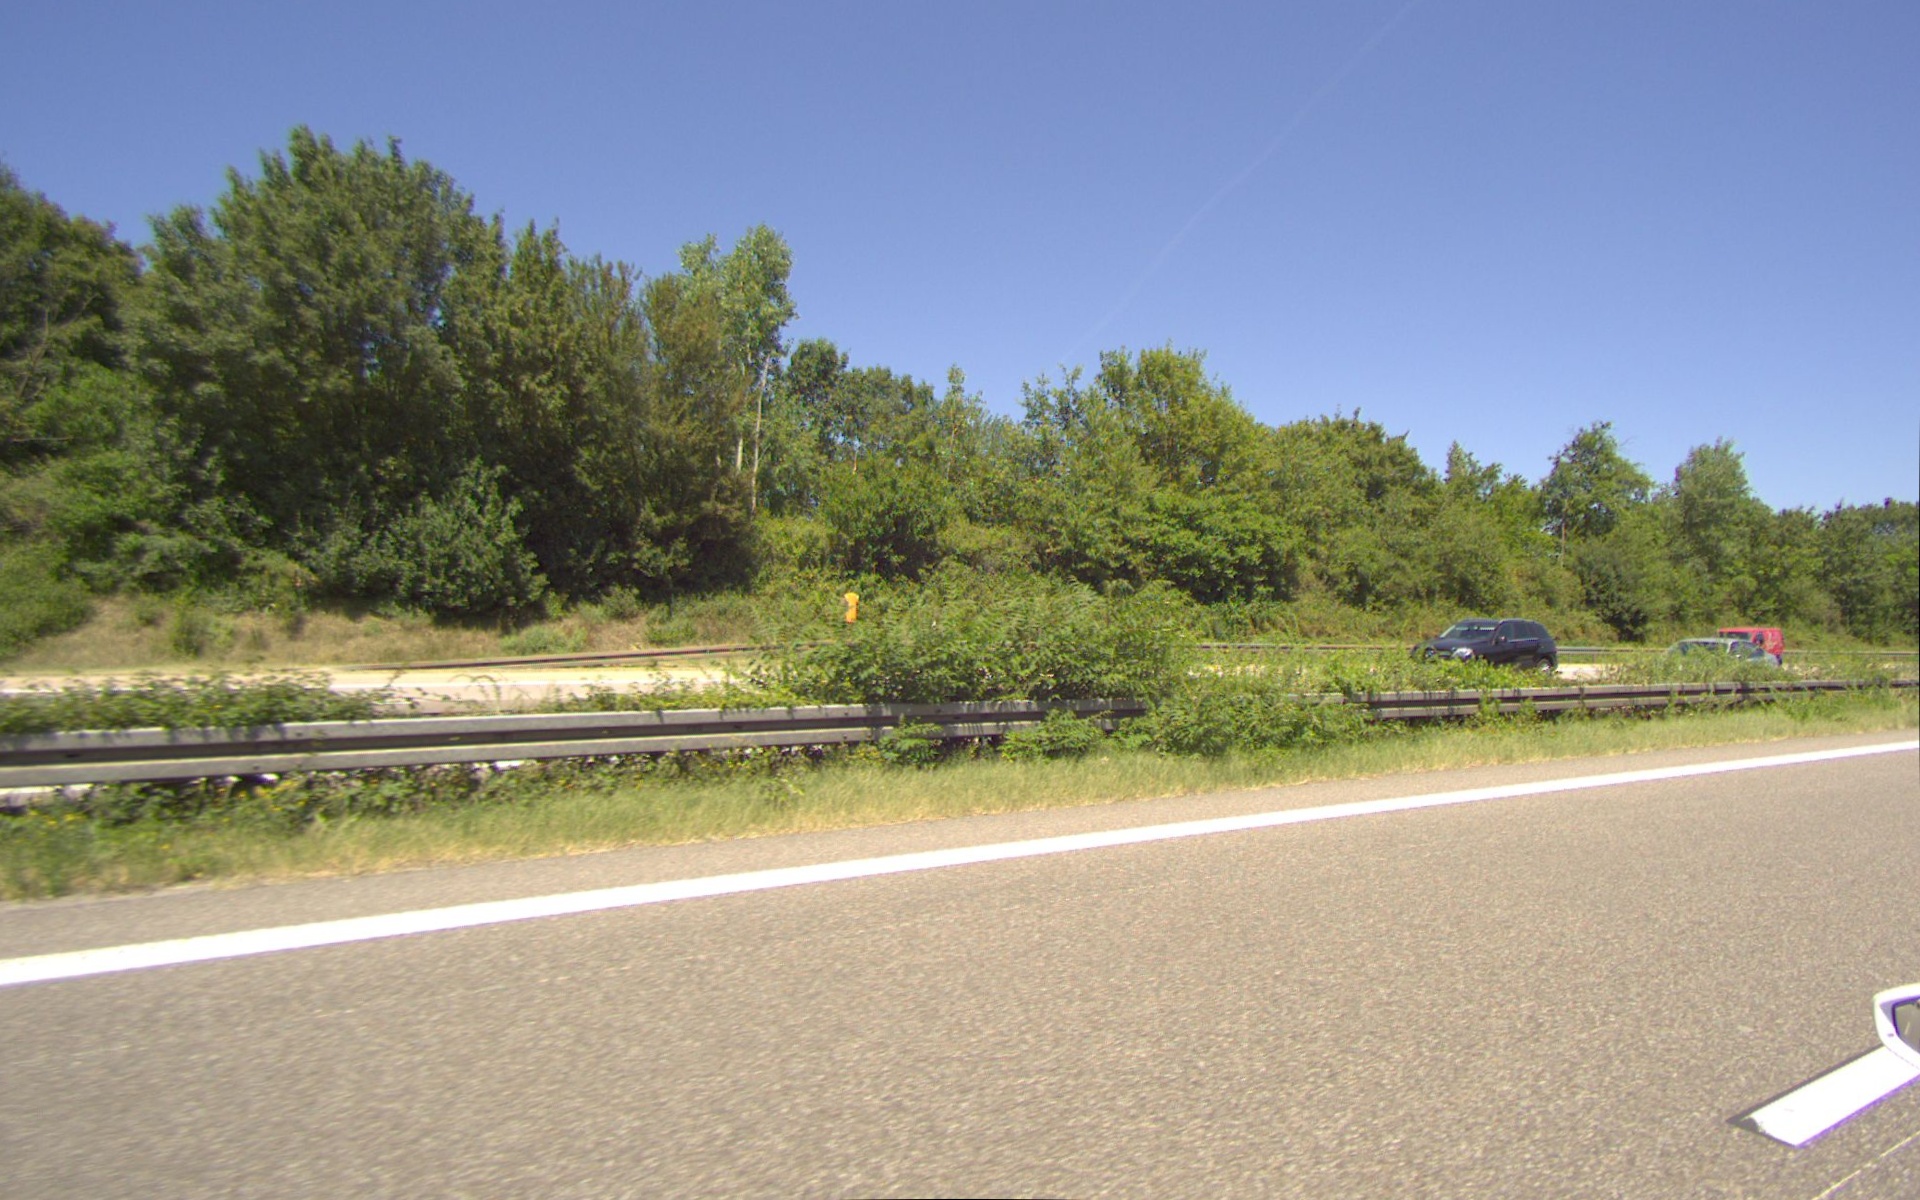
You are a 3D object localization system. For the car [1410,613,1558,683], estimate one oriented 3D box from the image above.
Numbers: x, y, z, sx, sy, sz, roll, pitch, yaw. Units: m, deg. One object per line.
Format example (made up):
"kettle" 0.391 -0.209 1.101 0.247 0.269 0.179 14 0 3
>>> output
"car" 14.354 1.285 27.478 3.950 1.777 1.660 2 -1 -28

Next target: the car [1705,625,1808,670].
"car" 33.732 1.997 42.537 4.708 1.800 1.697 2 -1 -28

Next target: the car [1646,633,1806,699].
"car" 19.743 1.648 25.854 4.341 1.533 1.755 2 -1 -30
